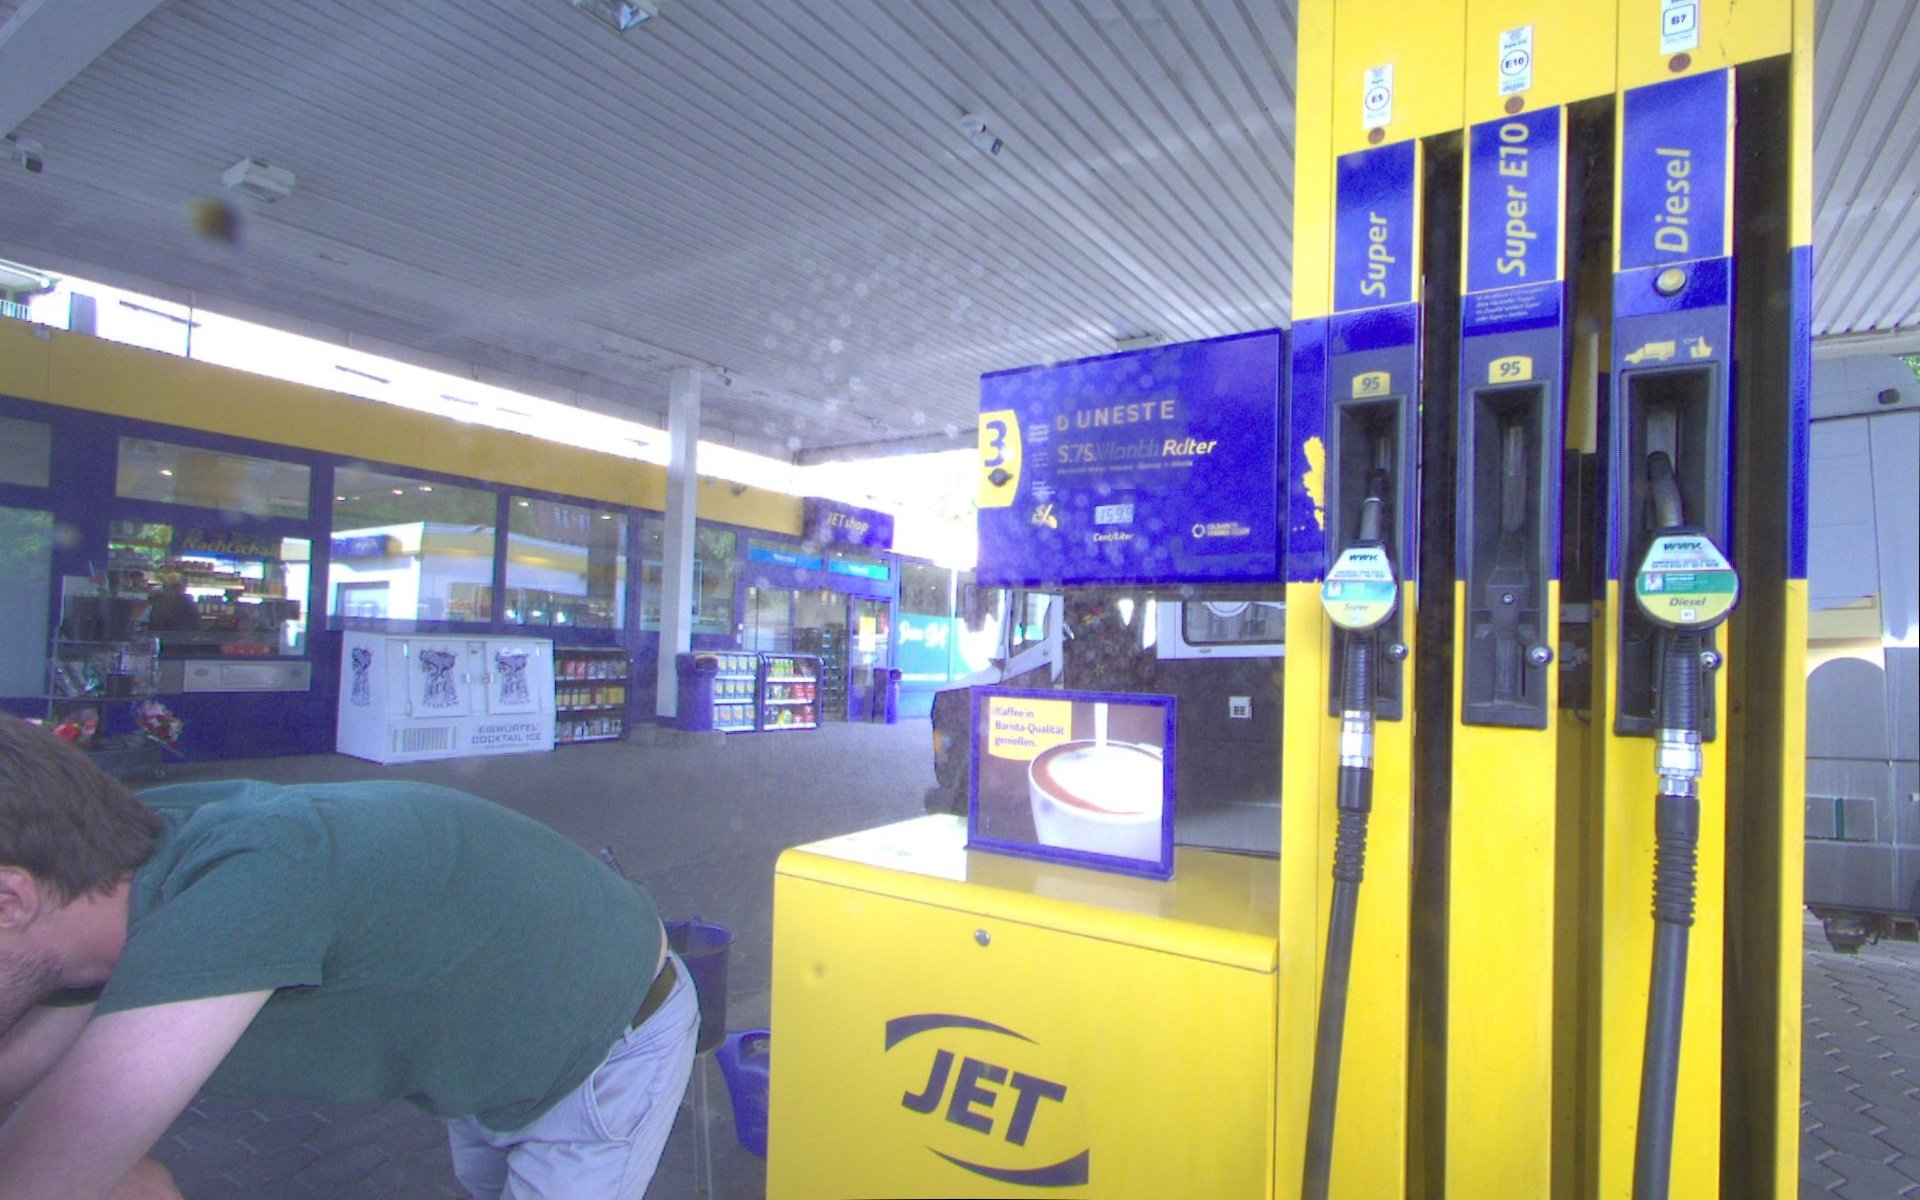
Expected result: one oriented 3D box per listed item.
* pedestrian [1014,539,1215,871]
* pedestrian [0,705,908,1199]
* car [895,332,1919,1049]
[{"bbox_3d":[0.869,0.584,5.929,0.961,1.785,0.980,0,-1,-5],"label":"pedestrian"},{"bbox_3d":[-0.538,0.798,1.080,0.664,1.298,0.749,-1,-1,31],"label":"pedestrian"},{"bbox_3d":[2.385,0.401,6.025,5.219,2.724,2.250,0,-3,34],"label":"car"}]
